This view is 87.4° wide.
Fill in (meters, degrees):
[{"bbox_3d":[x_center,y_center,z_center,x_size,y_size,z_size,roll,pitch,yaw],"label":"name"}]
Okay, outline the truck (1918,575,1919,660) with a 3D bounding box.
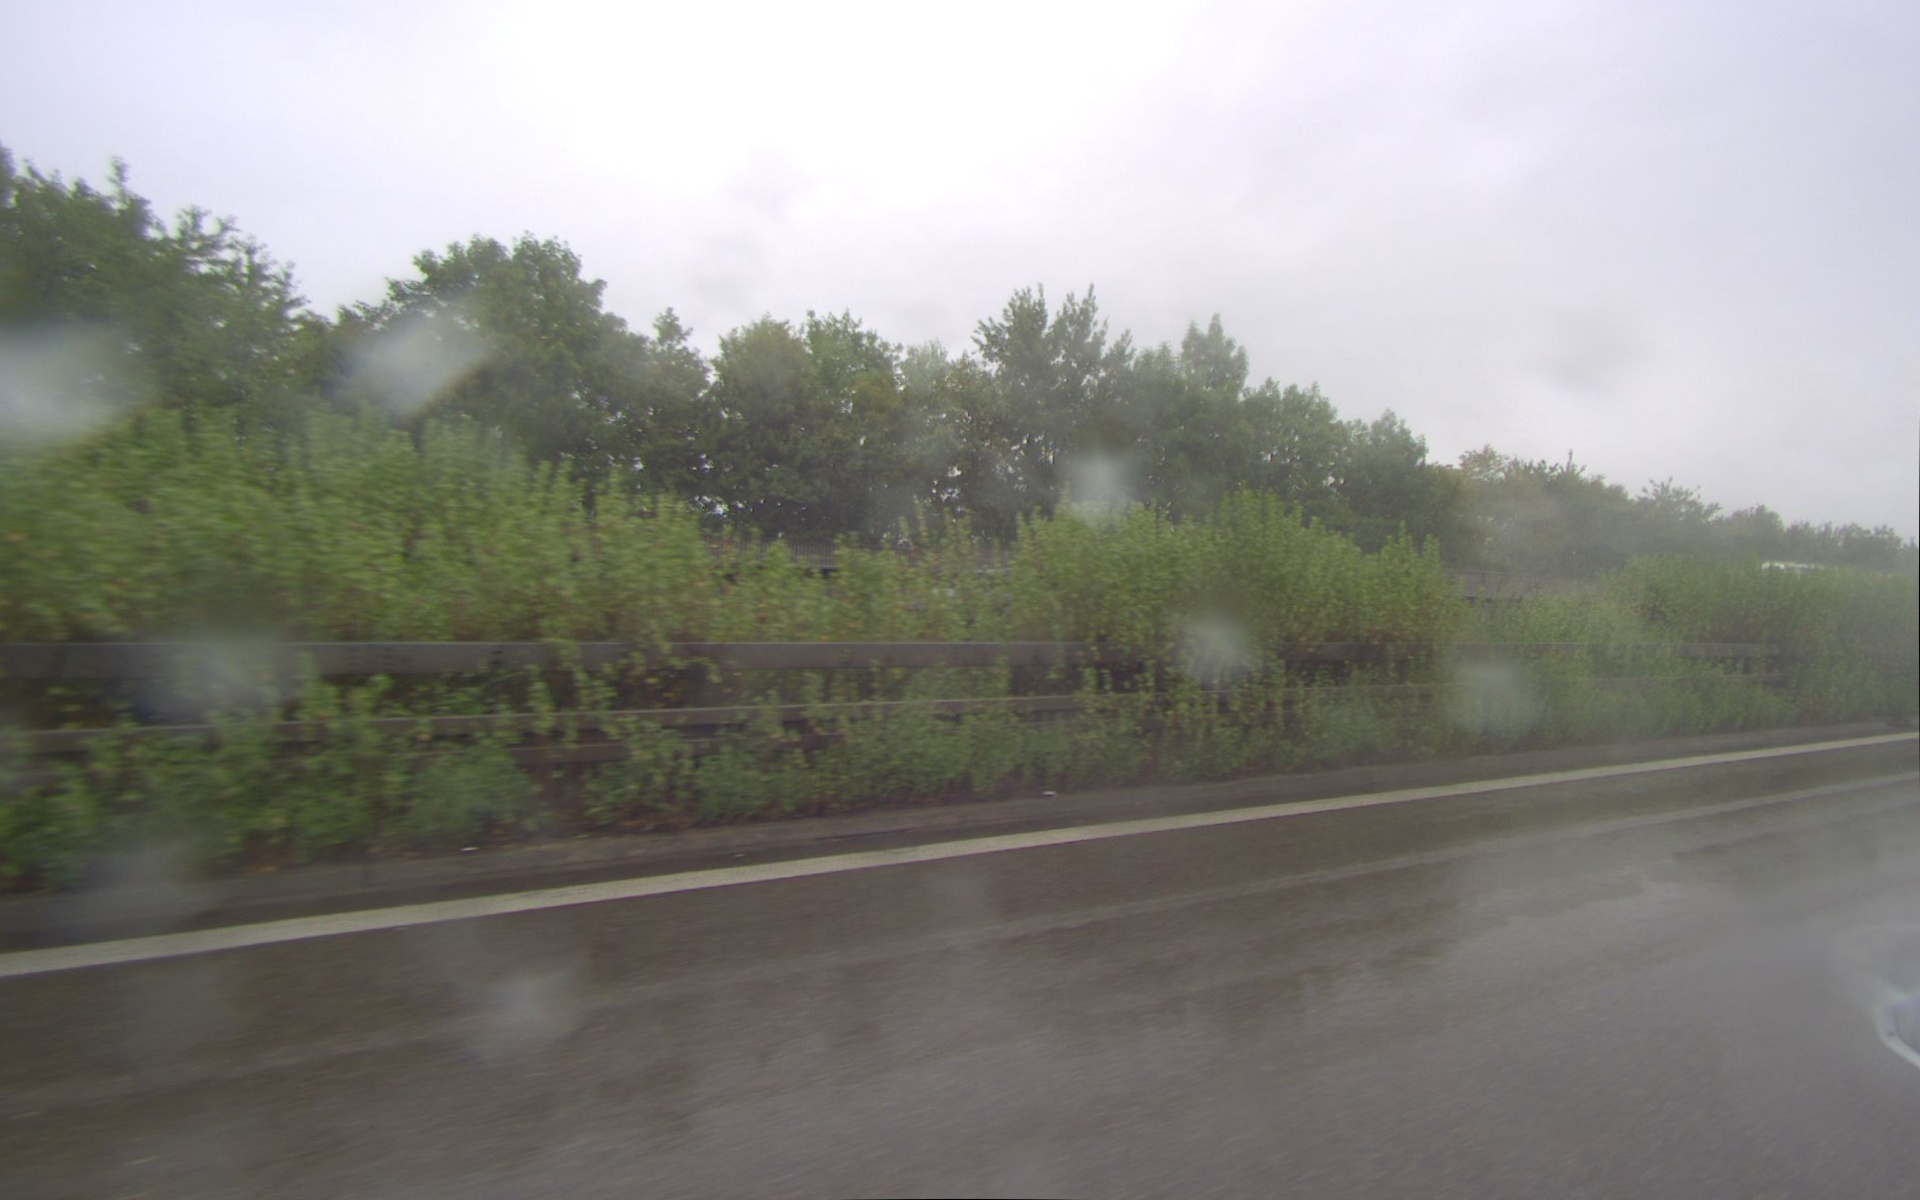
[{"bbox_3d":[54.547,0.849,52.854,9.304,4.701,3.815,1,0,-32],"label":"truck"}]
